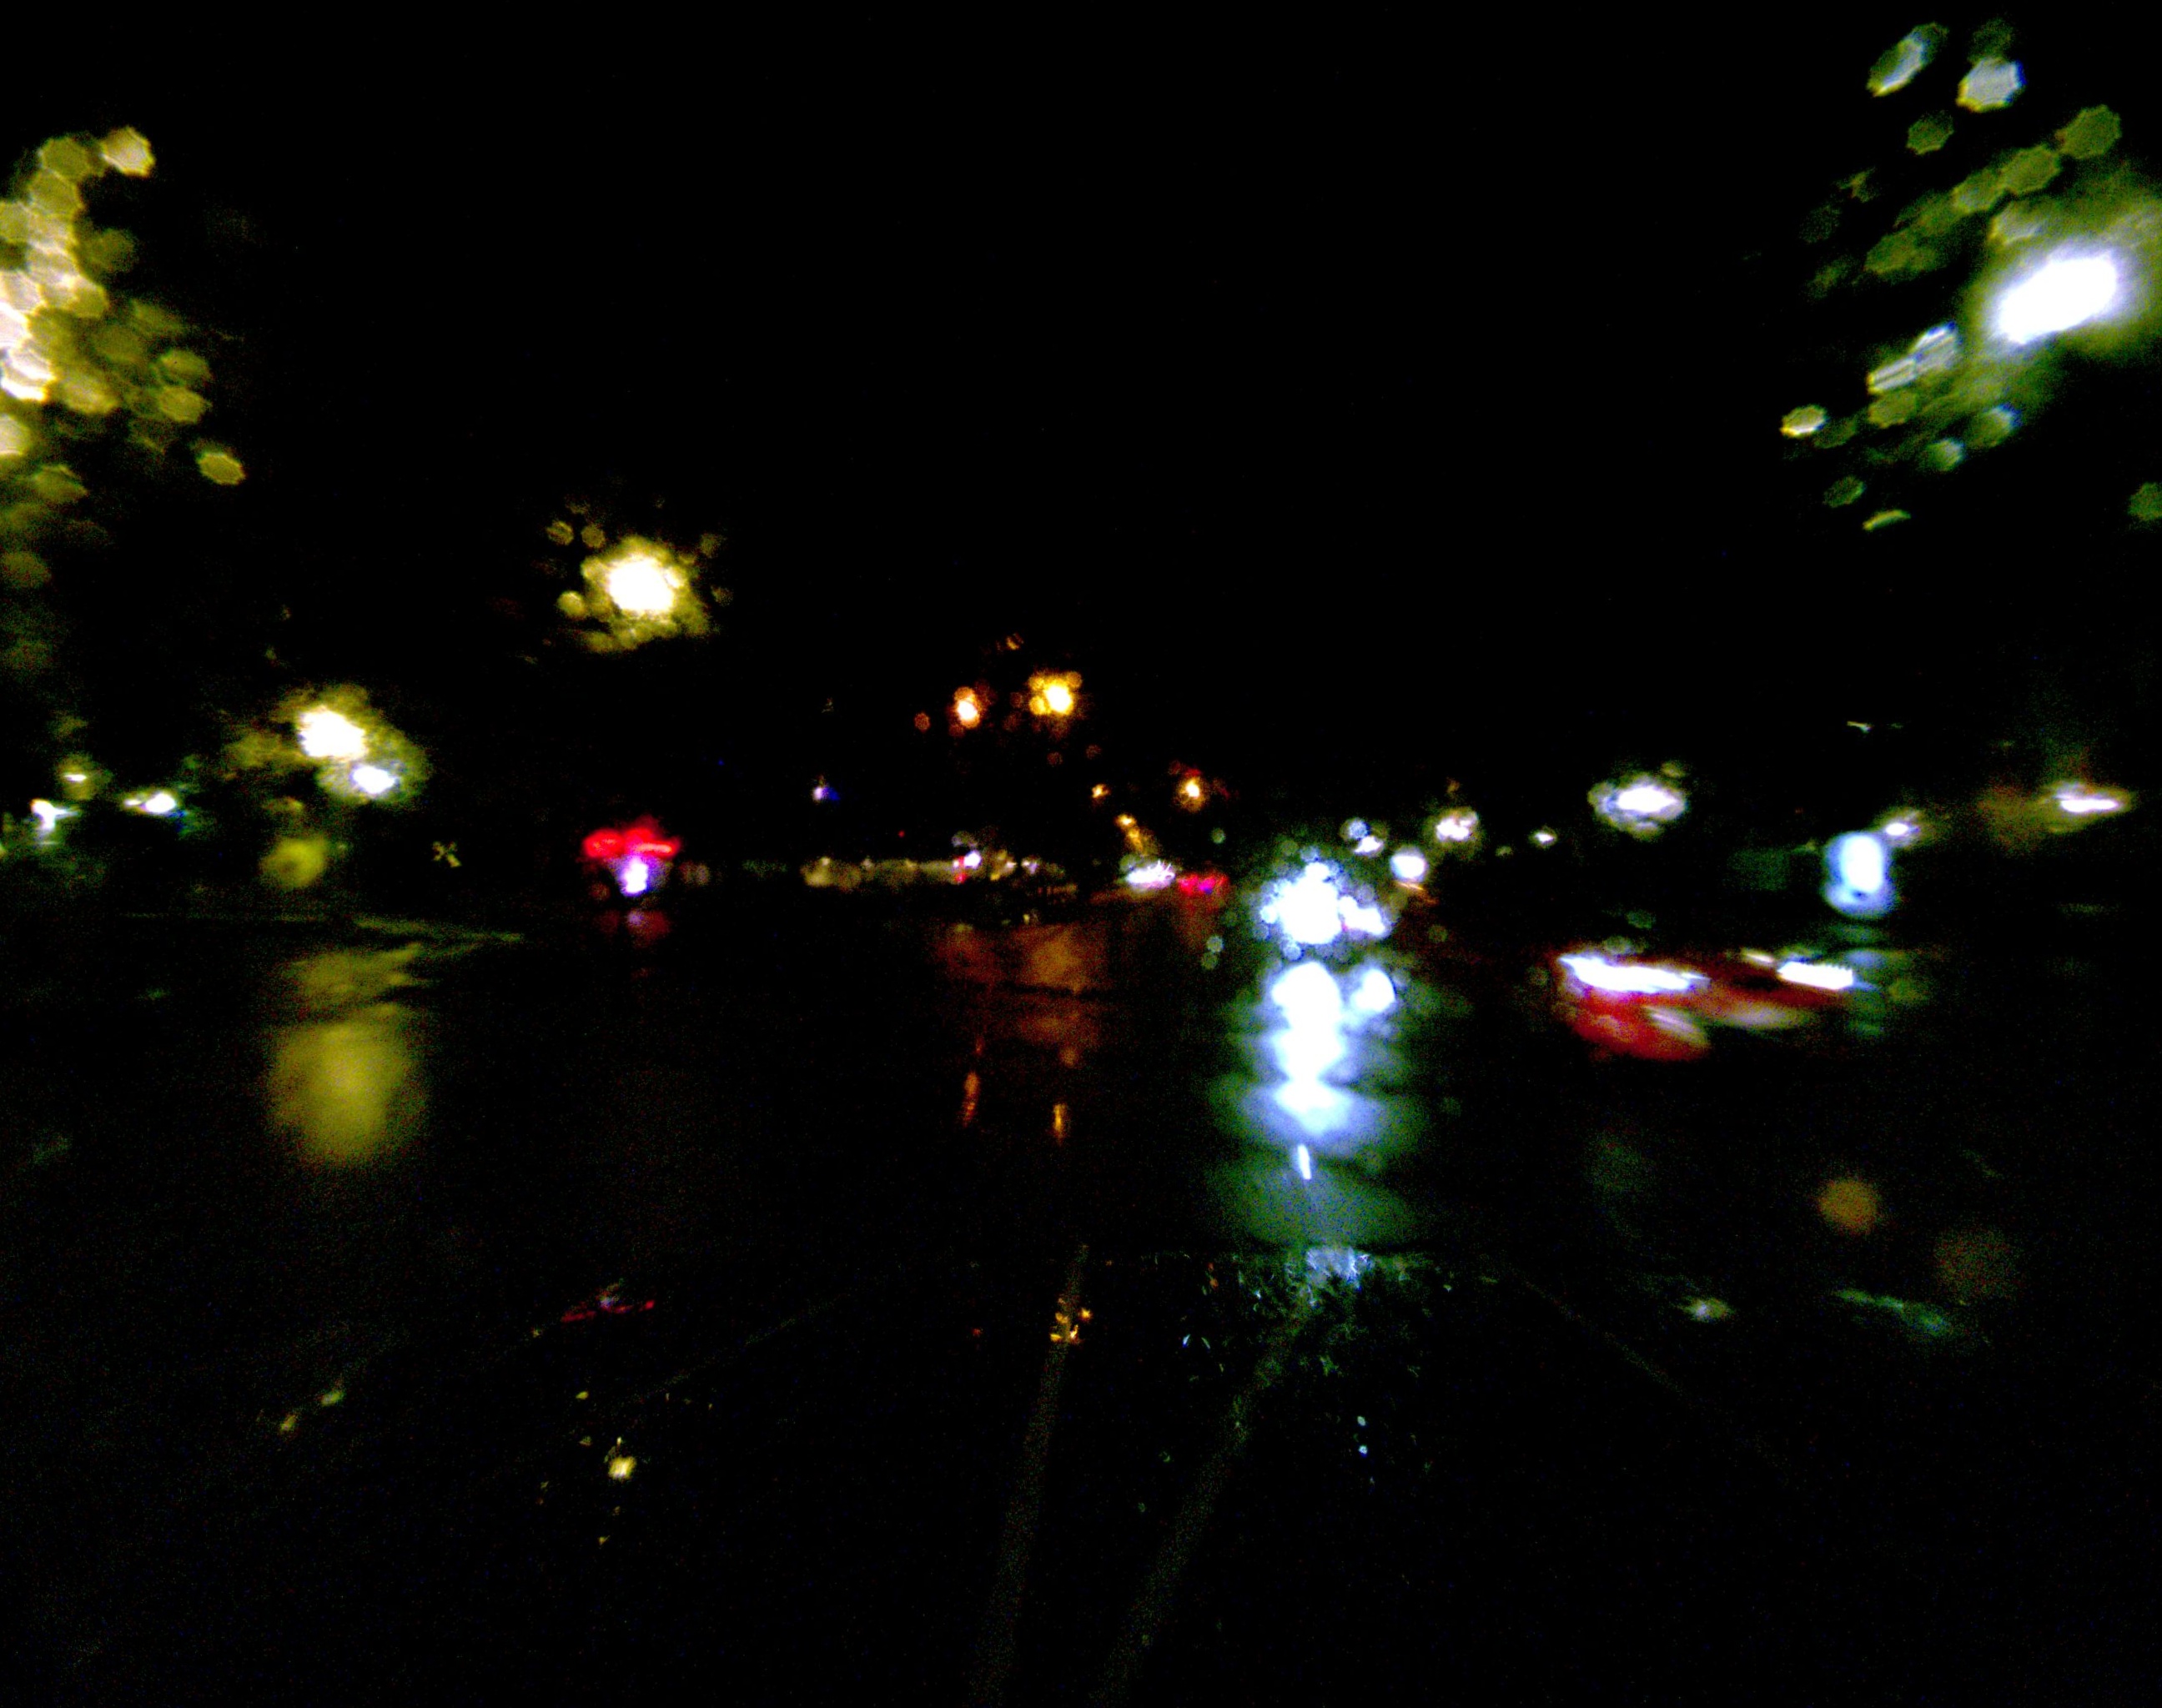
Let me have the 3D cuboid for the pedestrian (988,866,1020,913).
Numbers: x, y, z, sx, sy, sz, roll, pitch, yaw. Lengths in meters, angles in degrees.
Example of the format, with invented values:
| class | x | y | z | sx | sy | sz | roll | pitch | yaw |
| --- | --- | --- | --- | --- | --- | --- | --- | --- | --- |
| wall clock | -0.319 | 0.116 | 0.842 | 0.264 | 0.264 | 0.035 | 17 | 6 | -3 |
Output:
| class | x | y | z | sx | sy | sz | roll | pitch | yaw |
| --- | --- | --- | --- | --- | --- | --- | --- | --- | --- |
| pedestrian | -3.000 | 1.385 | 29.722 | 1.109 | 1.814 | 0.851 | 0 | -1 | 5 |

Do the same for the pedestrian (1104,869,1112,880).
| class | x | y | z | sx | sy | sz | roll | pitch | yaw |
| --- | --- | --- | --- | --- | --- | --- | --- | --- | --- |
| pedestrian | 3.997 | 3.053 | 112.630 | 1.051 | 1.565 | 1.019 | -2 | -1 | 10 |

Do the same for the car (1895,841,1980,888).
| class | x | y | z | sx | sy | sz | roll | pitch | yaw |
| --- | --- | --- | --- | --- | --- | --- | --- | --- | --- |
| car | 51.539 | 0.662 | 45.827 | 1.715 | 2.714 | 4.363 | -1 | -1 | 25 |

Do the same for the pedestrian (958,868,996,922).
| class | x | y | z | sx | sy | sz | roll | pitch | yaw |
| --- | --- | --- | --- | --- | --- | --- | --- | --- | --- |
| pedestrian | -3.602 | 1.410 | 26.384 | 1.109 | 1.814 | 0.852 | -1 | -1 | 8 |

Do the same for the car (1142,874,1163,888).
| class | x | y | z | sx | sy | sz | roll | pitch | yaw |
| --- | --- | --- | --- | --- | --- | --- | --- | --- | --- |
| car | 8.069 | 3.058 | 86.412 | 1.857 | 1.490 | 4.771 | 0 | -2 | -1 |

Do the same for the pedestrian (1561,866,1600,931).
| class | x | y | z | sx | sy | sz | roll | pitch | yaw |
| --- | --- | --- | --- | --- | --- | --- | --- | --- | --- |
| pedestrian | 13.694 | 1.192 | 20.836 | 0.769 | 1.725 | 0.972 | -1 | -1 | 39 |

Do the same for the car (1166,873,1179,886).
| class | x | y | z | sx | sy | sz | roll | pitch | yaw |
| --- | --- | --- | --- | --- | --- | --- | --- | --- | --- |
| car | 12.153 | 3.345 | 100.817 | 1.601 | 1.554 | 4.382 | 2 | -1 | 6 |

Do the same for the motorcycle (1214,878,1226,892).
| class | x | y | z | sx | sy | sz | roll | pitch | yaw |
| --- | --- | --- | --- | --- | --- | --- | --- | --- | --- |
| motorcycle | 11.181 | 2.497 | 61.165 | 0.702 | 1.131 | 2.177 | 0 | -2 | 5 |

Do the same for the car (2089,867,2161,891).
| class | x | y | z | sx | sy | sz | roll | pitch | yaw |
| --- | --- | --- | --- | --- | --- | --- | --- | --- | --- |
| car | 68.002 | 1.584 | 48.859 | 1.866 | 1.434 | 4.502 | -1 | -1 | 24 |

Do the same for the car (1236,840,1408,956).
| class | x | y | z | sx | sy | sz | roll | pitch | yaw |
| --- | --- | --- | --- | --- | --- | --- | --- | --- | --- |
| car | 4.564 | 0.841 | 15.348 | 2.039 | 1.941 | 5.203 | 0 | -2 | 3 |

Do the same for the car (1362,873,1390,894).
| class | x | y | z | sx | sy | sz | roll | pitch | yaw |
| --- | --- | --- | --- | --- | --- | --- | --- | --- | --- |
| car | 22.911 | 2.273 | 58.967 | 1.715 | 1.511 | 3.926 | -1 | -1 | 25 |

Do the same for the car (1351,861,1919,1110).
| class | x | y | z | sx | sy | sz | roll | pitch | yaw |
| --- | --- | --- | --- | --- | --- | --- | --- | --- | --- |
| car | 4.301 | 0.864 | 7.110 | 1.822 | 1.533 | 4.727 | -1 | -1 | 0 |

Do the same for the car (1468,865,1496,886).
| class | x | y | z | sx | sy | sz | roll | pitch | yaw |
| --- | --- | --- | --- | --- | --- | --- | --- | --- | --- |
| car | 34.734 | 1.878 | 65.922 | 1.866 | 1.749 | 4.502 | -1 | -1 | 24 |

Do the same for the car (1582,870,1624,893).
| class | x | y | z | sx | sy | sz | roll | pitch | yaw |
| --- | --- | --- | --- | --- | --- | --- | --- | --- | --- |
| car | 35.840 | 1.865 | 52.217 | 1.715 | 1.511 | 3.926 | -1 | -1 | 25 |

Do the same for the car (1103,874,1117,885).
| class | x | y | z | sx | sy | sz | roll | pitch | yaw |
| --- | --- | --- | --- | --- | --- | --- | --- | --- | --- |
| car | 4.433 | 3.877 | 116.307 | 1.826 | 1.521 | 4.786 | 0 | -1 | 5 |

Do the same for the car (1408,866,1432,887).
| class | x | y | z | sx | sy | sz | roll | pitch | yaw |
| --- | --- | --- | --- | --- | --- | --- | --- | --- | --- |
| car | 30.308 | 2.000 | 67.941 | 1.866 | 1.784 | 4.502 | -1 | -1 | 24 |

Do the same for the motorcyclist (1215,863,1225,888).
| class | x | y | z | sx | sy | sz | roll | pitch | yaw |
| --- | --- | --- | --- | --- | --- | --- | --- | --- | --- |
| motorcyclist | 11.180 | 1.726 | 61.270 | 0.694 | 2.001 | 0.983 | 0 | -1 | 4 |

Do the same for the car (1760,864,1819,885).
| class | x | y | z | sx | sy | sz | roll | pitch | yaw |
| --- | --- | --- | --- | --- | --- | --- | --- | --- | --- |
| car | 53.330 | 1.527 | 57.260 | 1.866 | 1.434 | 4.502 | -1 | -1 | 24 |
